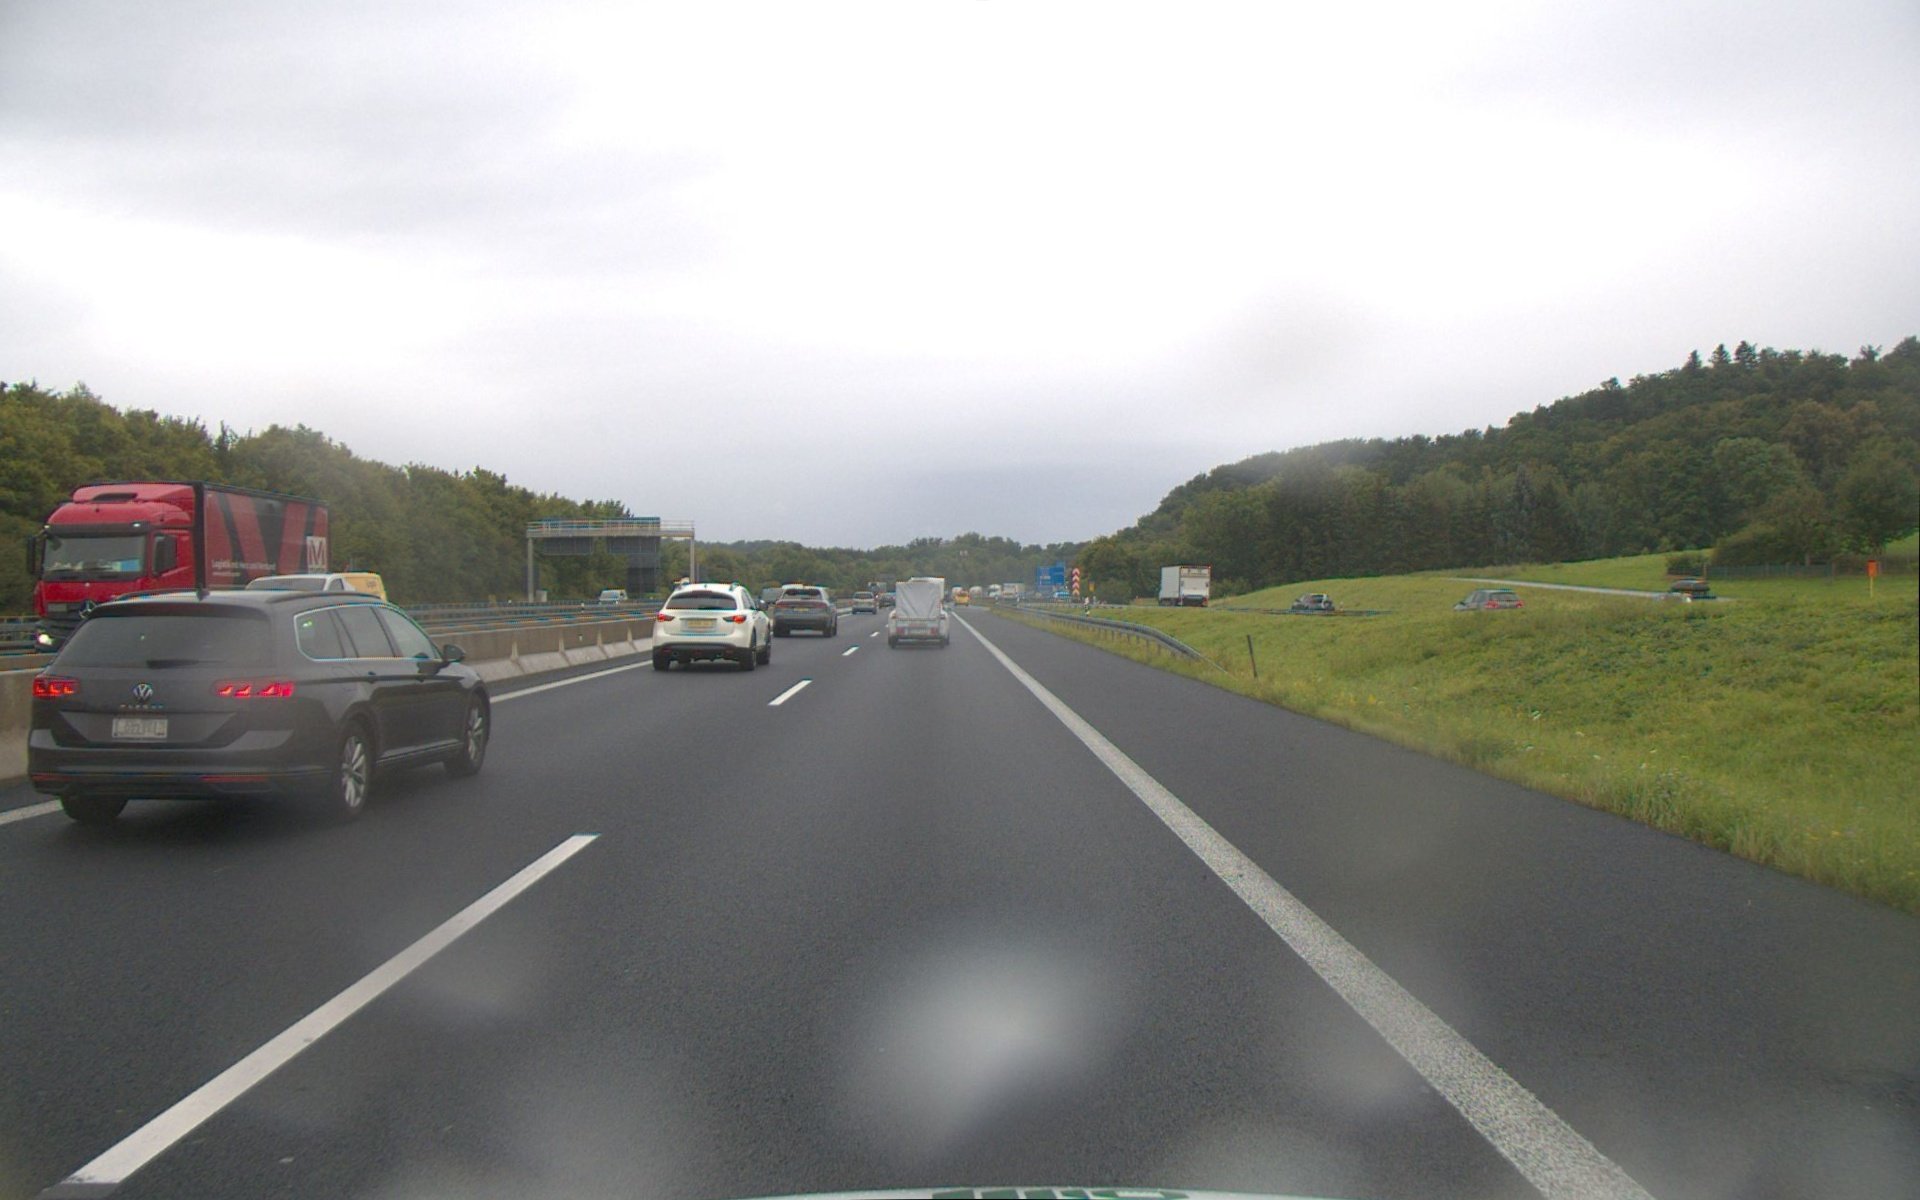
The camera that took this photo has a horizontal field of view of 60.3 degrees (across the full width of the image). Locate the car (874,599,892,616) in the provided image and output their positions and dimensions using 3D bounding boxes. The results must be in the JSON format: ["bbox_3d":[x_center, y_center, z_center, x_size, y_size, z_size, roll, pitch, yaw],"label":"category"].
[{"bbox_3d":[-7.630,0.739,164.846,1.612,1.601,3.999,1,0,-1],"label":"car"}]

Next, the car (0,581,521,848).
[{"bbox_3d":[-4.631,0.633,11.687,1.751,1.484,4.802,0,0,0],"label":"car"}]

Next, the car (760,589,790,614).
[{"bbox_3d":[-14.379,0.072,128.881,1.953,1.868,4.677,1,0,-2],"label":"car"}]

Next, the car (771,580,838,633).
[{"bbox_3d":[-5.367,0.204,57.608,1.936,1.733,4.801,1,0,-1],"label":"car"}]

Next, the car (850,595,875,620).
[{"bbox_3d":[-7.155,0.525,121.740,1.703,1.825,3.999,1,0,-1],"label":"car"}]

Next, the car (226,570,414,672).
[{"bbox_3d":[-13.082,0.395,34.199,1.953,1.895,5.219,-2,0,-2],"label":"car"}]

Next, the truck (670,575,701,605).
[{"bbox_3d":[-35.314,-1.240,213.297,2.631,3.725,9.554,-1,0,-2],"label":"truck"}]

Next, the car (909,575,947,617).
[{"bbox_3d":[-2.218,-0.261,112.342,2.285,2.773,6.535,0,0,-4],"label":"car"}]

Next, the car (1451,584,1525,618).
[{"bbox_3d":[21.167,0.049,66.416,1.510,1.311,3.530,1,0,-7],"label":"car"}]

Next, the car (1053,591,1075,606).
[{"bbox_3d":[11.623,-0.193,185.061,1.954,1.579,3.996,1,0,-4],"label":"car"}]

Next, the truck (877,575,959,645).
[{"bbox_3d":[-1.243,0.255,48.028,2.197,1.871,6.582,1,0,-2],"label":"truck"}]

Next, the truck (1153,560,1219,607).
[{"bbox_3d":[18.666,-1.344,137.172,3.750,3.723,8.264,1,0,-5],"label":"truck"}]

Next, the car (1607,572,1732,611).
[{"bbox_3d":[26.466,-0.302,61.917,1.949,1.401,5.068,0,0,-9],"label":"car"}]

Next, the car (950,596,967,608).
[{"bbox_3d":[-0.219,0.234,224.835,1.955,1.579,3.995,1,0,-6],"label":"car"}]

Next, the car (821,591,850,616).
[{"bbox_3d":[-8.717,0.247,116.187,1.782,1.691,4.016,0,0,-1],"label":"car"}]

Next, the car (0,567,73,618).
[{"bbox_3d":[-39.275,-0.312,69.634,1.714,2.049,4.000,0,0,0],"label":"car"}]

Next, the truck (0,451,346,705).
[{"bbox_3d":[-17.319,-0.451,36.885,3.330,4.816,10.484,1,0,0],"label":"truck"}]

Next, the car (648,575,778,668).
[{"bbox_3d":[-4.831,0.390,32.918,2.007,1.699,4.539,1,0,-2],"label":"car"}]

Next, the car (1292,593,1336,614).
[{"bbox_3d":[22.519,0.233,105.374,1.665,1.311,3.529,1,0,-7],"label":"car"}]

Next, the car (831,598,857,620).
[{"bbox_3d":[-9.104,0.673,130.194,1.782,1.691,4.016,0,0,-1],"label":"car"}]
